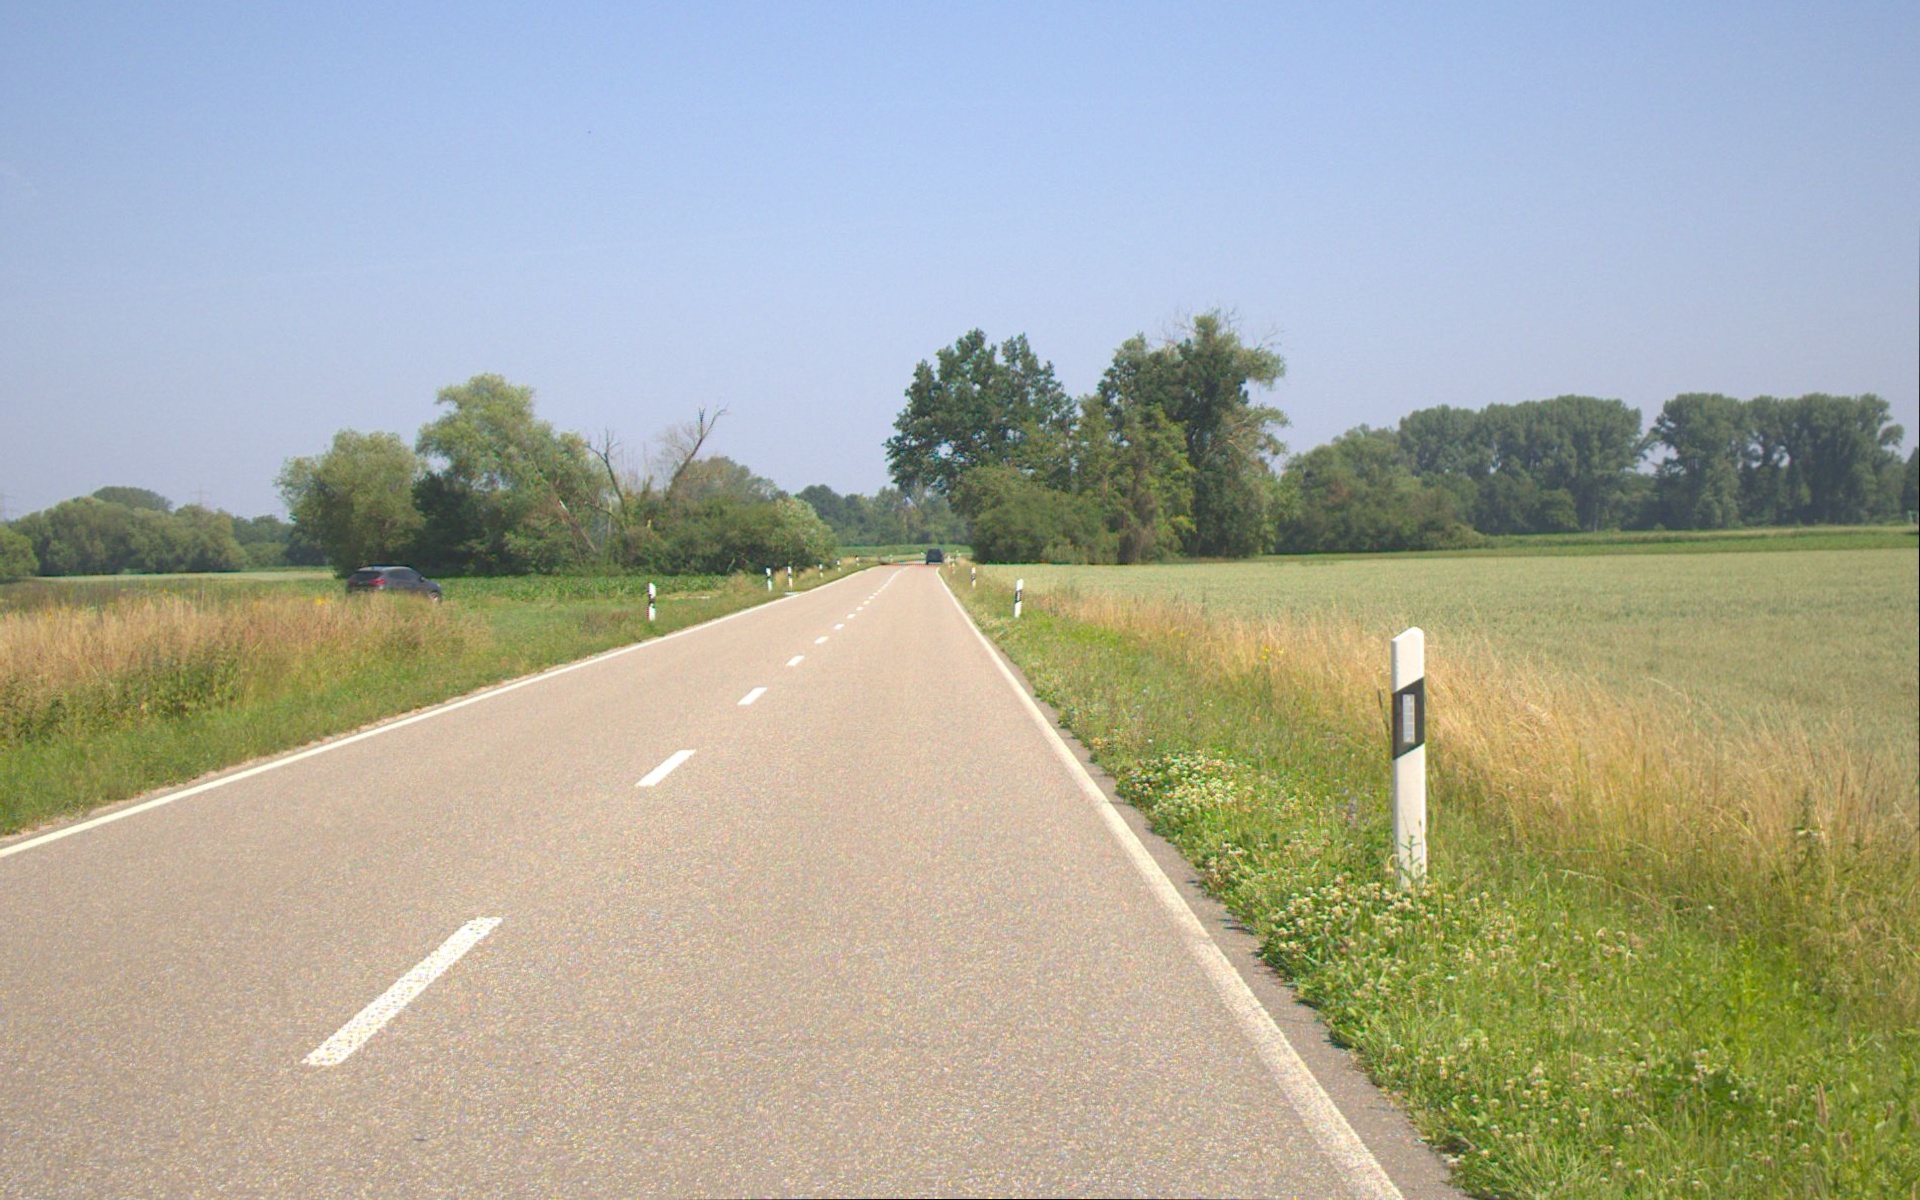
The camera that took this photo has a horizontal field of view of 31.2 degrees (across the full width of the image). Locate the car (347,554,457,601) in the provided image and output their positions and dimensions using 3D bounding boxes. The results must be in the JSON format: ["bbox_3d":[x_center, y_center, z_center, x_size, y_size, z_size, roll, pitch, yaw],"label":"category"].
[{"bbox_3d":[-20.791,-0.861,128.278,1.755,1.645,4.523,-1,1,25],"label":"car"}]
